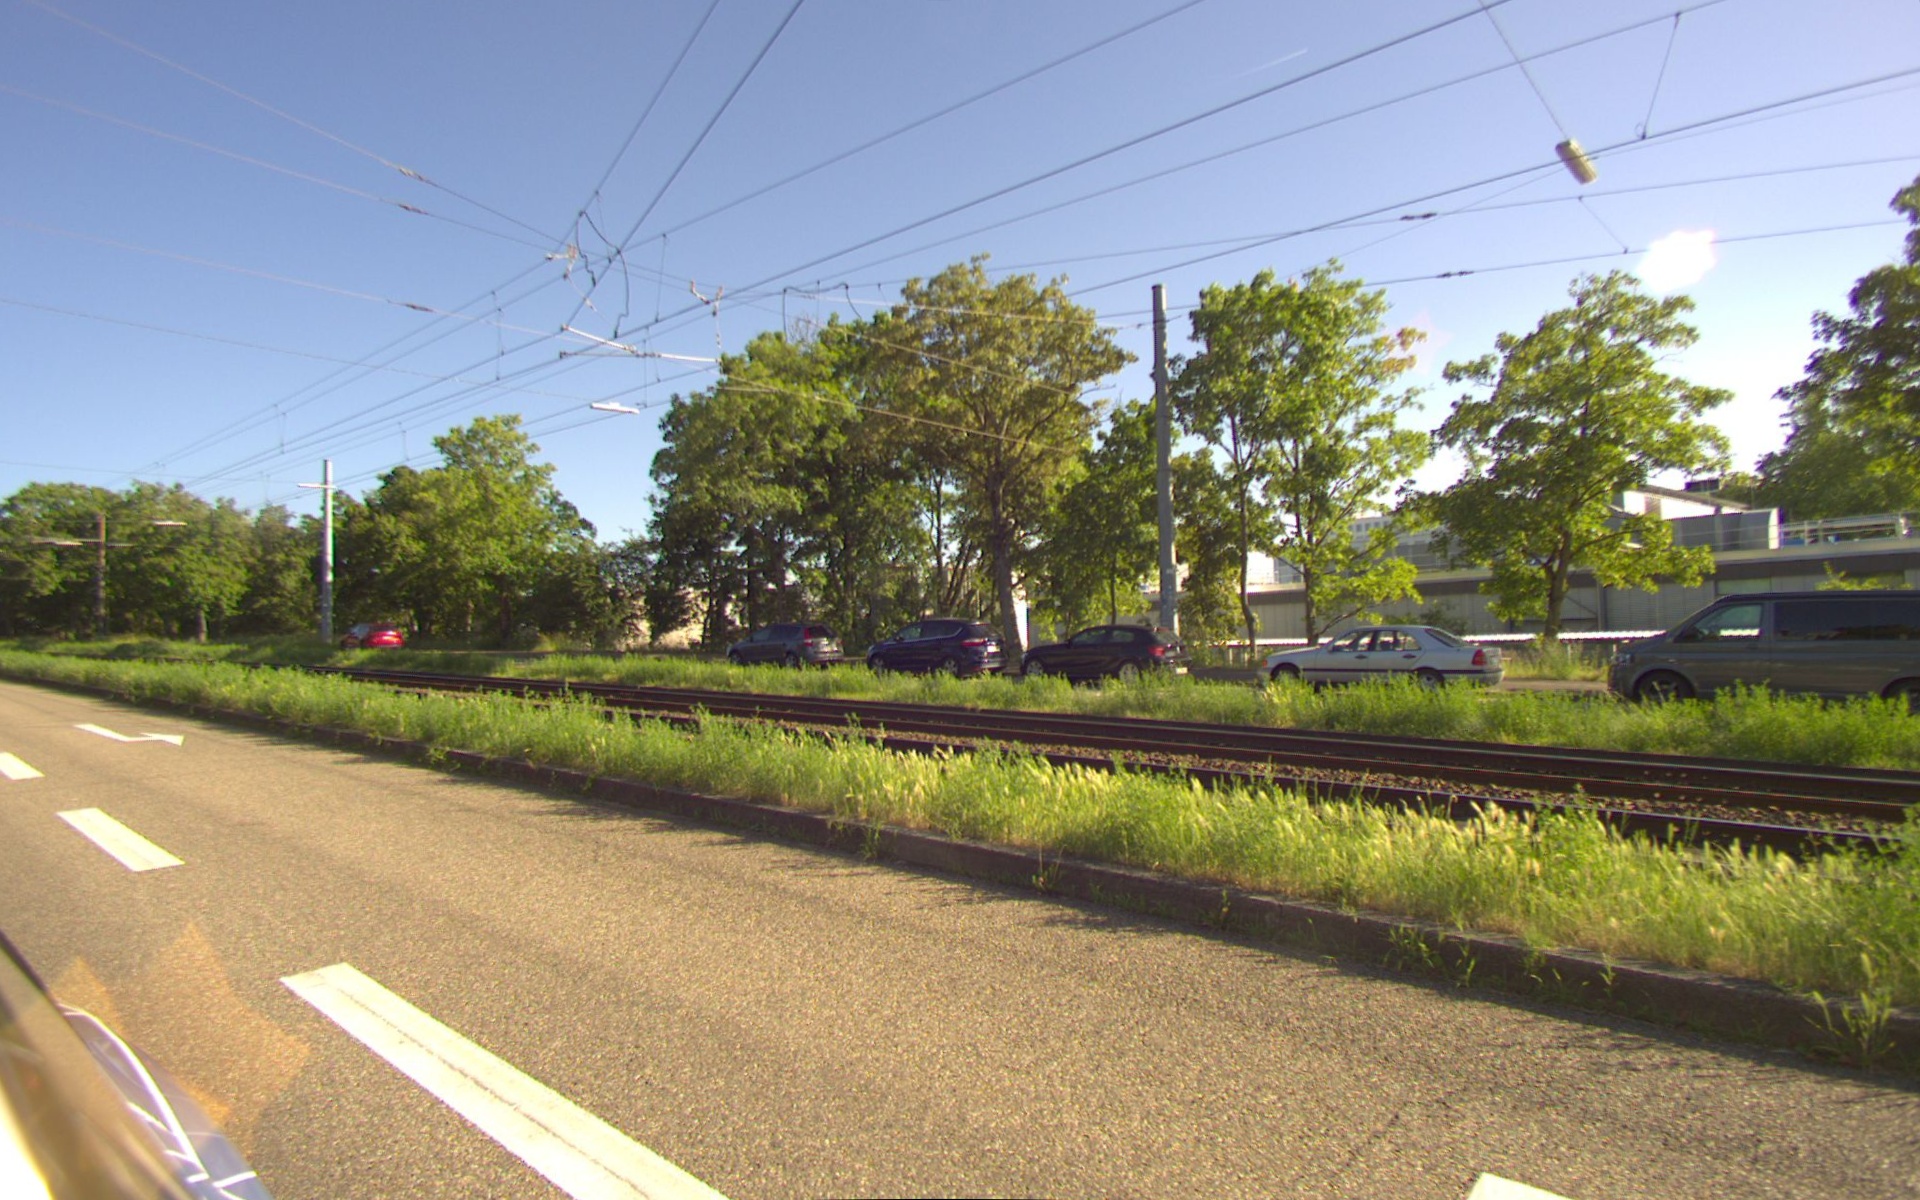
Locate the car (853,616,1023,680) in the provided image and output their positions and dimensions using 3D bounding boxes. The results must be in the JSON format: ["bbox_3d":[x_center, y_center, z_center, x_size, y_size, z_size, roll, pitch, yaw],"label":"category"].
[{"bbox_3d":[-0.660,1.281,27.619,4.431,1.586,1.973,-2,-2,40],"label":"car"}]

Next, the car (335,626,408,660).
[{"bbox_3d":[-31.419,2.264,54.001,4.463,1.715,1.984,-2,-2,40],"label":"car"}]

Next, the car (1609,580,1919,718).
[{"bbox_3d":[13.066,0.717,15.619,4.791,1.905,2.173,-2,-2,43],"label":"car"}]

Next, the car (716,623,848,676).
[{"bbox_3d":[-5.682,1.527,32.123,4.323,1.505,1.718,-2,0,39],"label":"car"}]

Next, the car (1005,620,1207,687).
[{"bbox_3d":[3.405,1.241,24.127,4.413,1.448,1.972,-2,-2,42],"label":"car"}]

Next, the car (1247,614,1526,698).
[{"bbox_3d":[8.297,1.062,19.970,4.693,1.448,1.908,-2,-2,42],"label":"car"}]
